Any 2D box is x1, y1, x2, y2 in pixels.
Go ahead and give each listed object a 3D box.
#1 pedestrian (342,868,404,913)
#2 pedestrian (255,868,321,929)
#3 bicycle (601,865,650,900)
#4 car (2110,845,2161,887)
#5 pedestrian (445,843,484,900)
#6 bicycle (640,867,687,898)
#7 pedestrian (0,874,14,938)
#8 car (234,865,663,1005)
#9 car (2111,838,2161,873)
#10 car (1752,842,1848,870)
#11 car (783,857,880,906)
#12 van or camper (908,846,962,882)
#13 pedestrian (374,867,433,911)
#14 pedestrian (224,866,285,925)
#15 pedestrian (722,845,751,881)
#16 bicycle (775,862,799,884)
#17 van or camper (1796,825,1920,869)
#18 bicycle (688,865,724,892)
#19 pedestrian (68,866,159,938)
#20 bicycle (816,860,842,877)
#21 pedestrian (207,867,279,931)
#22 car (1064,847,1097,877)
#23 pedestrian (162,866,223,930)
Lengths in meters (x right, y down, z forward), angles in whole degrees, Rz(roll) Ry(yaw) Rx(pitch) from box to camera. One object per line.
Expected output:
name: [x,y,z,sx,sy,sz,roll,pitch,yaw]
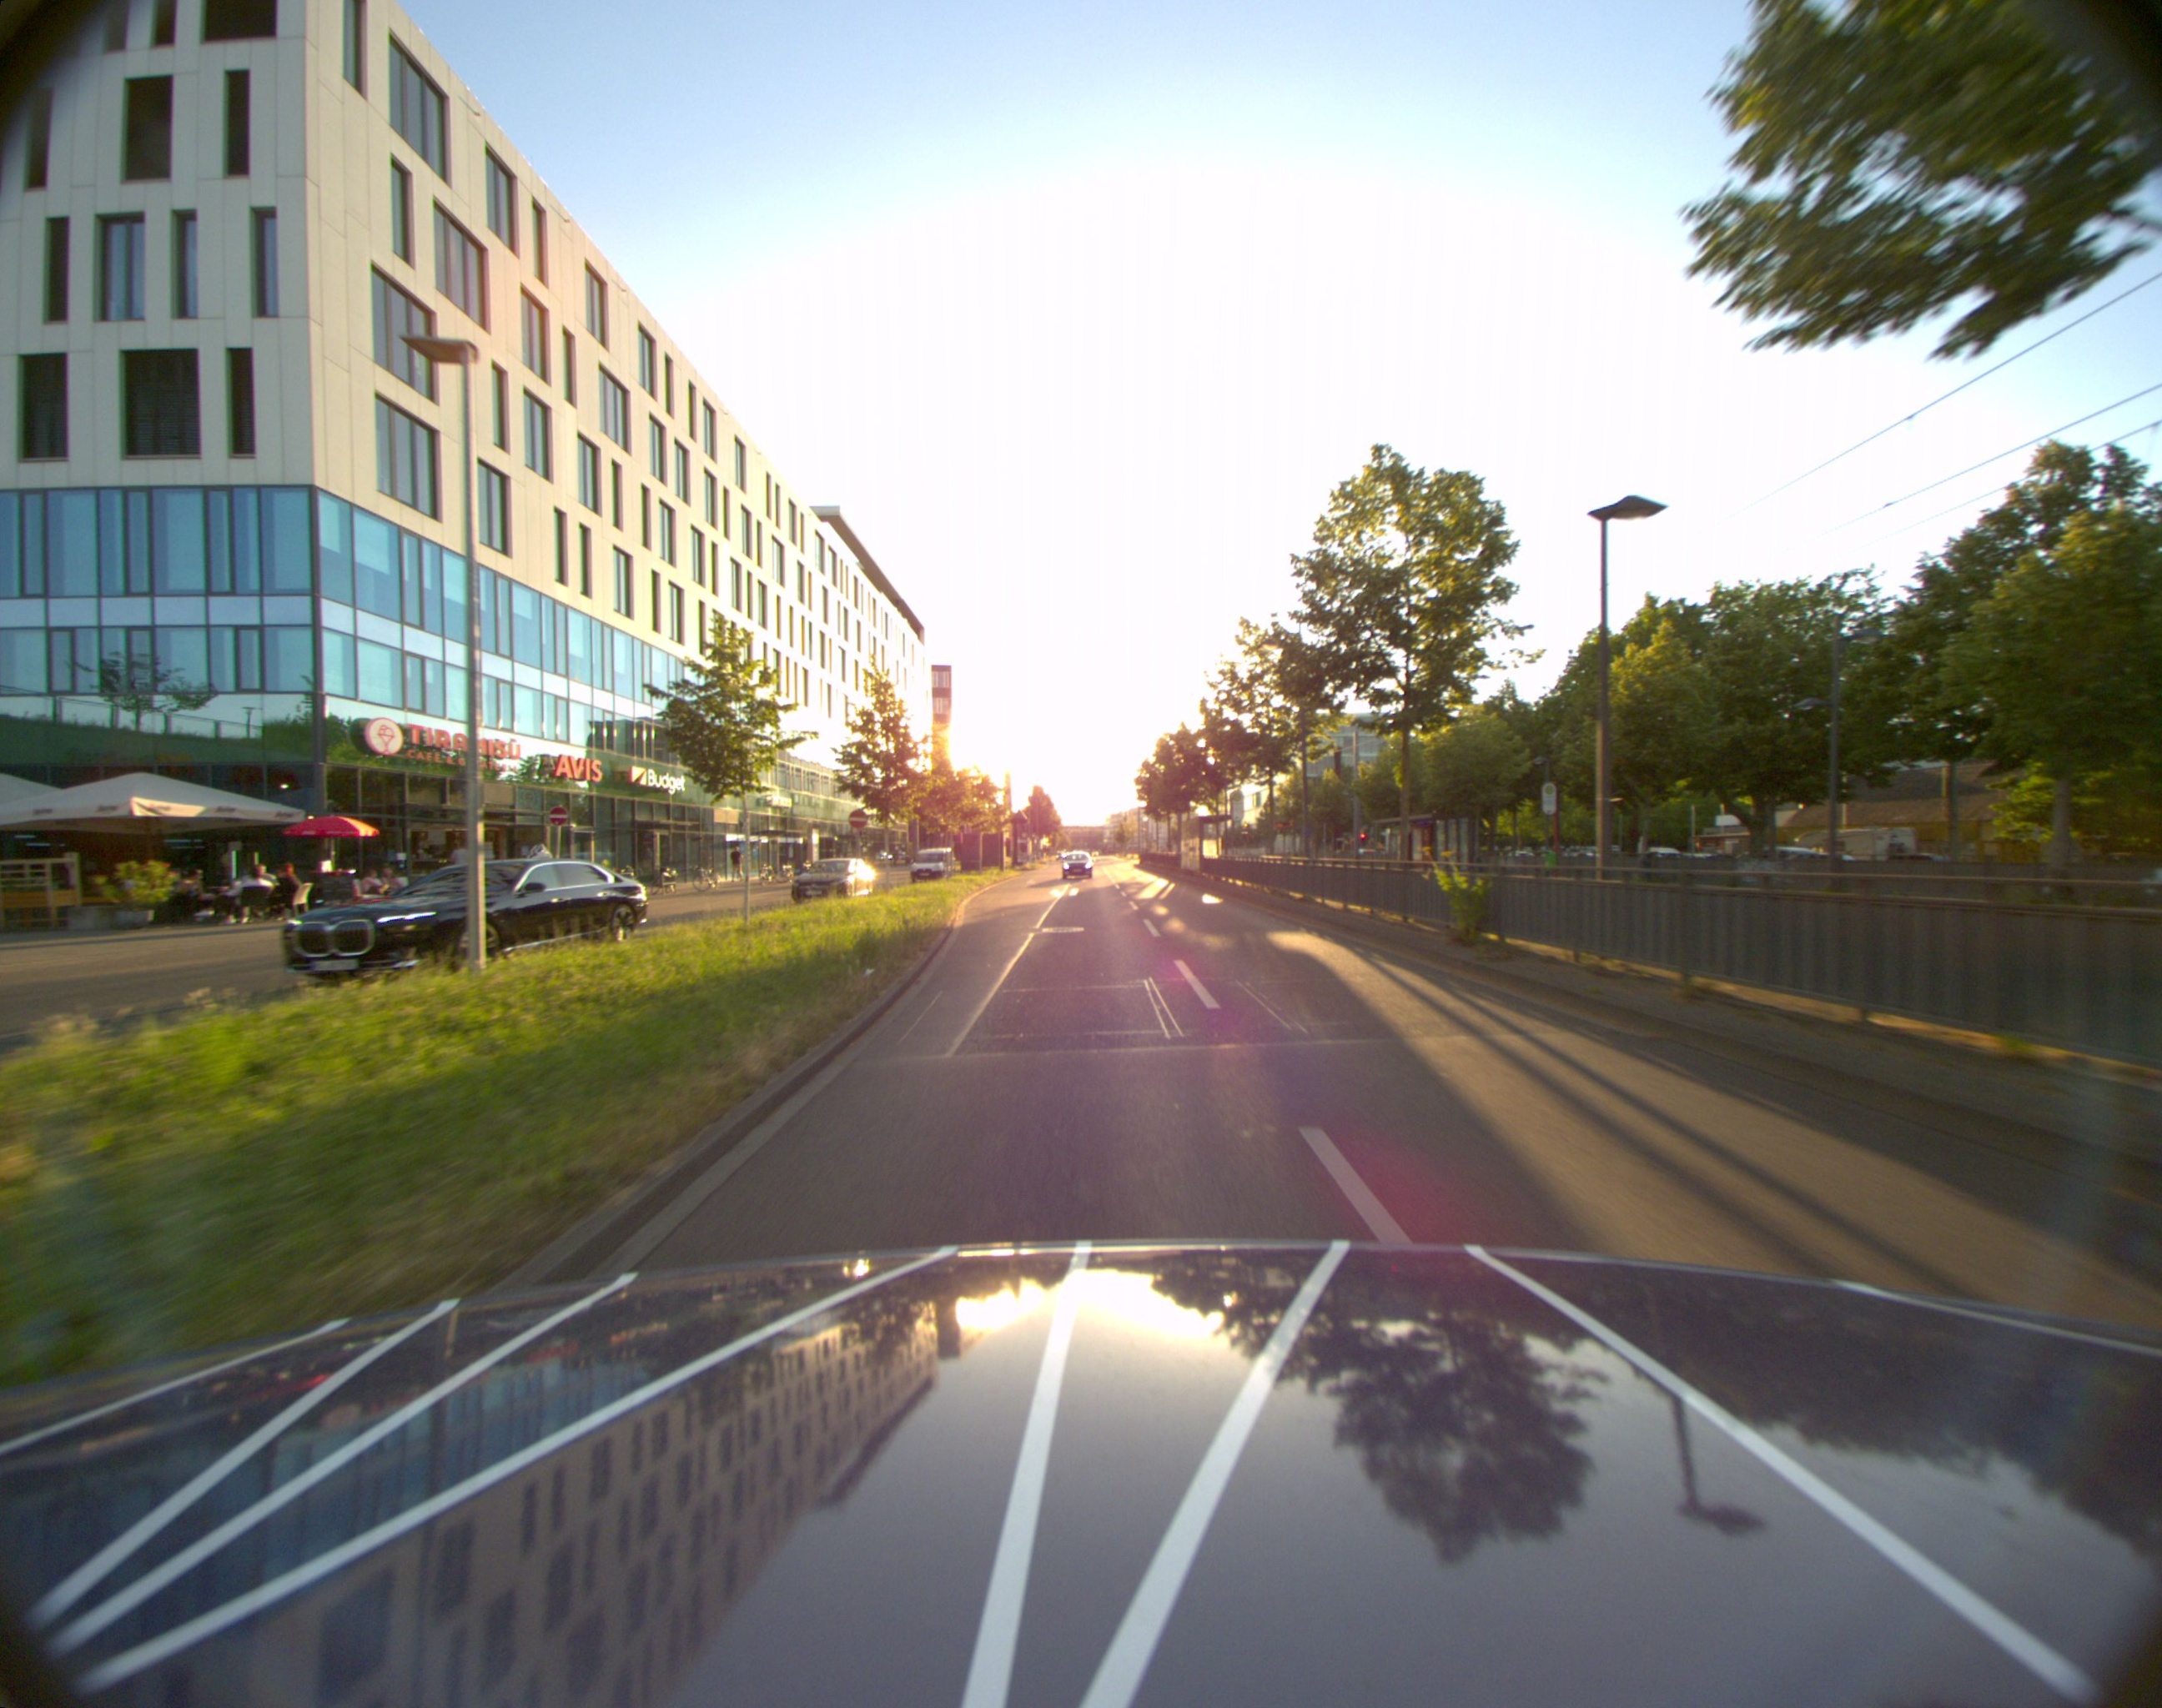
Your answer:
pedestrian: [-18.525,0.947,19.884,0.975,1.119,0.685,1,1,1]
pedestrian: [-17.648,0.975,16.919,0.776,1.283,0.685,2,1,7]
bicycle: [-15.727,0.969,26.306,0.641,1.126,1.873,1,0,-3]
car: [37.324,0.408,24.852,1.998,1.399,4.001,-1,0,3]
pedestrian: [-19.295,0.530,23.774,0.661,1.749,0.686,2,1,18]
bicycle: [-15.746,1.061,28.687,0.685,1.057,2.073,1,0,-2]
pedestrian: [-21.526,1.025,14.663,0.745,1.258,0.771,-1,1,1]
car: [-8.816,0.981,11.508,1.924,1.492,5.410,-1,0,0]
car: [47.374,0.039,32.481,1.828,1.492,3.645,-1,0,4]
car: [41.399,0.085,43.903,1.998,1.521,4.002,-1,0,6]
car: [-8.414,0.867,26.045,1.813,1.492,4.479,-1,0,0]
van or camper: [-8.294,0.542,43.652,1.963,1.908,4.830,-2,0,1]
pedestrian: [-18.413,0.946,20.668,0.975,1.119,0.685,1,1,1]
pedestrian: [-18.560,0.919,17.078,0.685,1.283,0.628,1,1,-12]
pedestrian: [-17.937,0.453,39.570,1.029,1.872,0.947,-1,1,0]
bicycle: [-15.332,0.981,39.678,0.388,1.102,2.148,2,0,1]
van or camper: [48.459,-0.442,47.605,2.396,2.548,5.635,0,1,7]
bicycle: [-15.380,0.983,31.223,0.598,1.034,2.072,1,0,-6]
pedestrian: [-18.899,0.917,14.863,0.745,1.360,0.770,-1,1,-11]
bicycle: [-15.212,0.865,45.883,0.530,1.034,1.919,1,0,12]
pedestrian: [-17.734,0.939,16.088,0.782,1.283,0.685,2,1,7]
car: [-0.028,0.449,44.036,1.828,1.625,4.000,-1,0,0]
pedestrian: [-18.817,0.915,16.110,0.664,1.283,0.683,1,1,-32]
